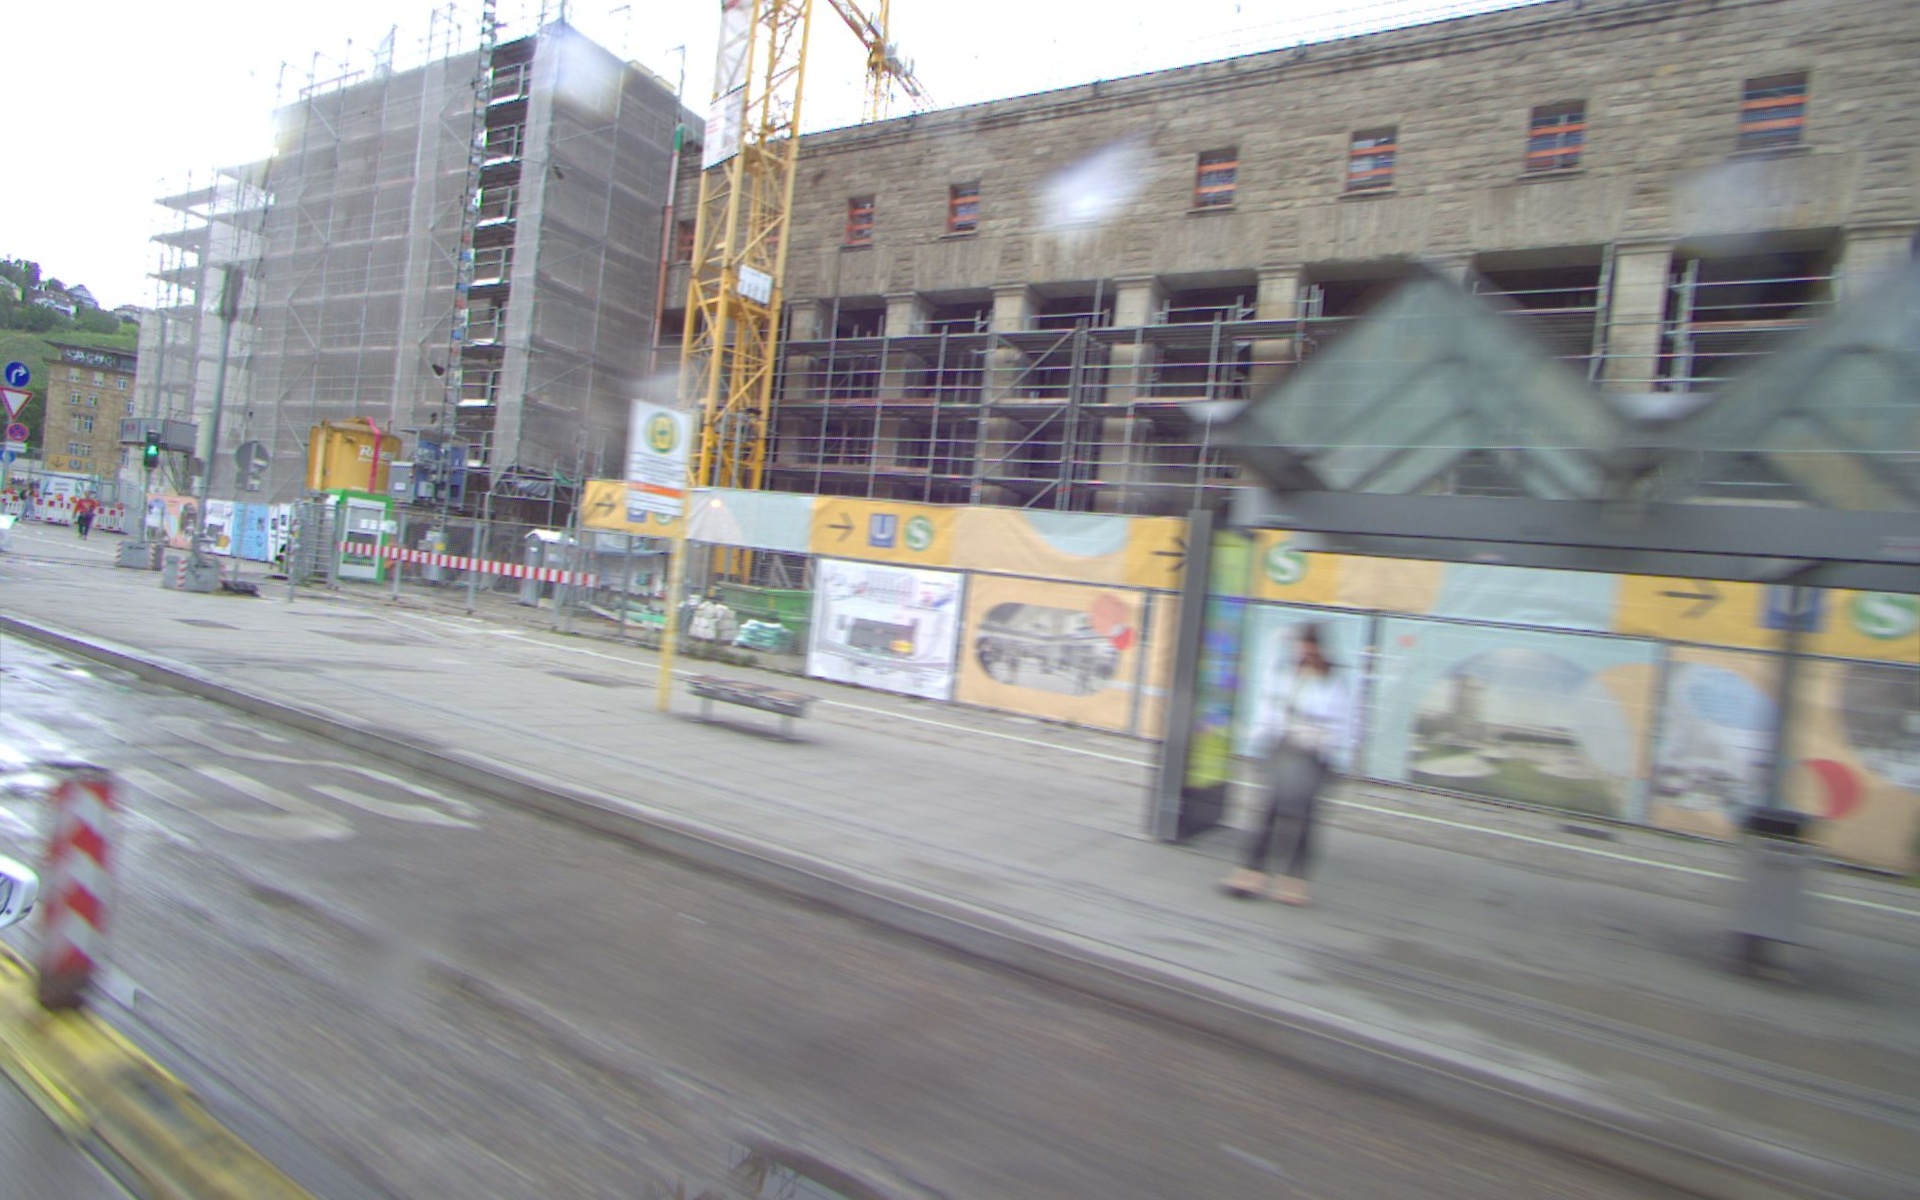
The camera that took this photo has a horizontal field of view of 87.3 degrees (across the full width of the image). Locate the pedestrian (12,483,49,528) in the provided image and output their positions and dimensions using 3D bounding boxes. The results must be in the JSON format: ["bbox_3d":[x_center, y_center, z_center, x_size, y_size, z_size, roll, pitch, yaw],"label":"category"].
[{"bbox_3d":[-38.224,-3.893,41.354,0.785,1.682,0.864,7,1,35],"label":"pedestrian"}]

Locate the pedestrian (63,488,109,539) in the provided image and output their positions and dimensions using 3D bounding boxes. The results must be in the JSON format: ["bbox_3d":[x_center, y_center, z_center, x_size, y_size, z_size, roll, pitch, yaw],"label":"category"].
[{"bbox_3d":[-30.663,-3.029,35.305,0.847,1.628,0.770,7,1,18],"label":"pedestrian"}]

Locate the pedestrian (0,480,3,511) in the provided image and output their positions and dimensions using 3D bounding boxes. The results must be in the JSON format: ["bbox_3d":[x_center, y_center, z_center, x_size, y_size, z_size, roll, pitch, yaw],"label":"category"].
[{"bbox_3d":[-31.876,-3.180,32.710,0.788,1.628,0.829,6,1,-29],"label":"pedestrian"}]

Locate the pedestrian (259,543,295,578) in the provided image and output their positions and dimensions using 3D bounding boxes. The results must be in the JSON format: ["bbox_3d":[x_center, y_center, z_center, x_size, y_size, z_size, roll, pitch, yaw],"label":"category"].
[{"bbox_3d":[-20.825,-1.209,30.670,0.791,0.952,0.709,6,1,-39],"label":"pedestrian"}]

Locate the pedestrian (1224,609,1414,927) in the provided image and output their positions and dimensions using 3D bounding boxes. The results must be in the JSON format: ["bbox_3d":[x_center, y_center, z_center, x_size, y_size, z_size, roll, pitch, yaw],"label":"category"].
[{"bbox_3d":[2.094,0.945,5.974,0.709,1.700,0.703,7,1,4],"label":"pedestrian"}]
